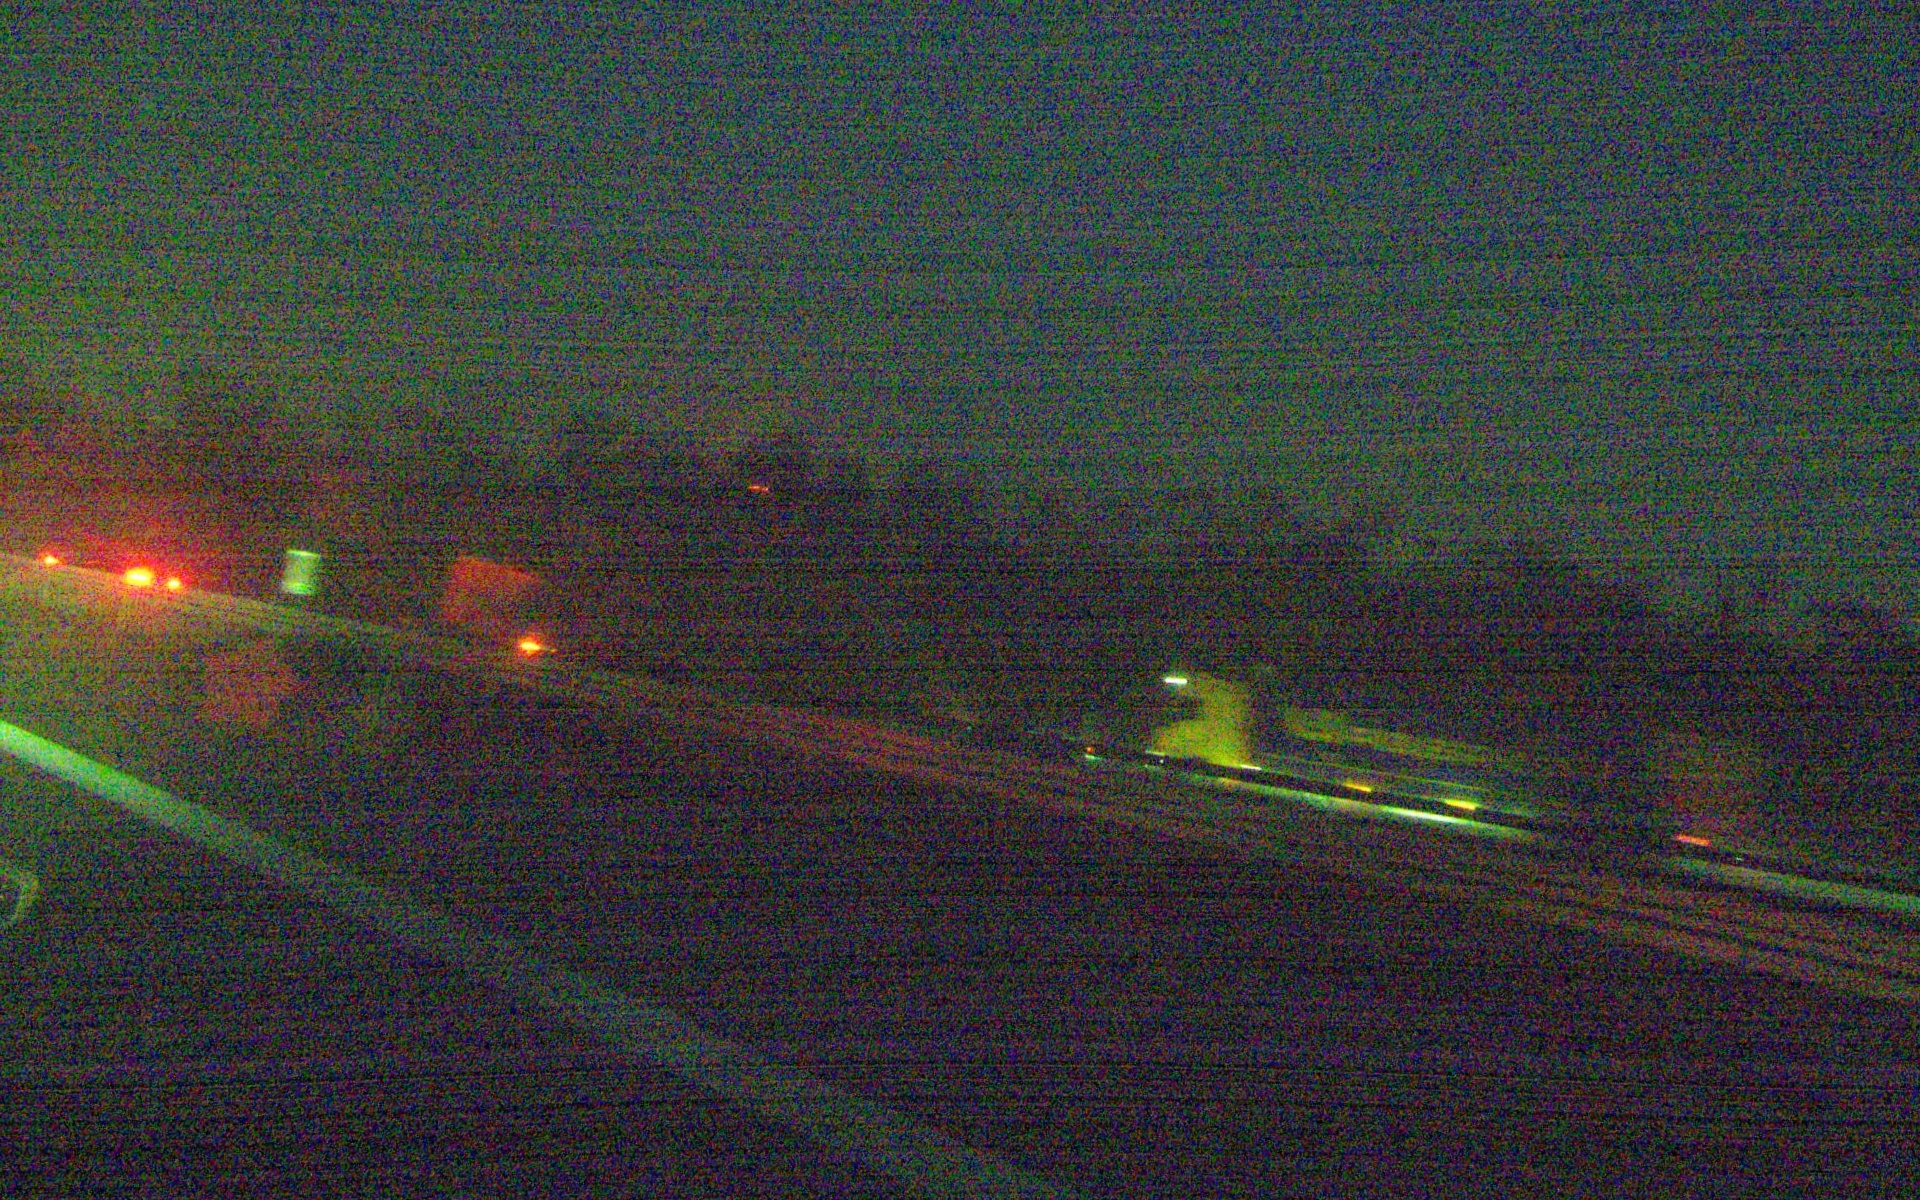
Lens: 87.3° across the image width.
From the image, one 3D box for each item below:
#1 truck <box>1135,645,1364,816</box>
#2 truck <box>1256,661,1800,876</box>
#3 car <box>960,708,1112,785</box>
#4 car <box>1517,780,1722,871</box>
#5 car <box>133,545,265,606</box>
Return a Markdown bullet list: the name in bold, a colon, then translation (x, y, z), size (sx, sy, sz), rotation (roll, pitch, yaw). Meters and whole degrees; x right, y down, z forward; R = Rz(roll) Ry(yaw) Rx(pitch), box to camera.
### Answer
- **truck**: translation (8.696, 3.889, 30.923), size (6.076, 4.271, 2.771), rotation (6, -2, 9)
- **truck**: translation (16.097, 4.700, 29.665), size (13.561, 4.271, 2.771), rotation (6, -2, 9)
- **car**: translation (2.170, 4.054, 28.157), size (3.915, 1.309, 1.715), rotation (9, -2, 12)
- **car**: translation (16.775, 5.731, 25.800), size (3.915, 1.309, 1.715), rotation (9, -2, 13)
- **car**: translation (-26.746, -0.878, 35.361), size (4.261, 1.463, 2.001), rotation (6, -5, 29)
